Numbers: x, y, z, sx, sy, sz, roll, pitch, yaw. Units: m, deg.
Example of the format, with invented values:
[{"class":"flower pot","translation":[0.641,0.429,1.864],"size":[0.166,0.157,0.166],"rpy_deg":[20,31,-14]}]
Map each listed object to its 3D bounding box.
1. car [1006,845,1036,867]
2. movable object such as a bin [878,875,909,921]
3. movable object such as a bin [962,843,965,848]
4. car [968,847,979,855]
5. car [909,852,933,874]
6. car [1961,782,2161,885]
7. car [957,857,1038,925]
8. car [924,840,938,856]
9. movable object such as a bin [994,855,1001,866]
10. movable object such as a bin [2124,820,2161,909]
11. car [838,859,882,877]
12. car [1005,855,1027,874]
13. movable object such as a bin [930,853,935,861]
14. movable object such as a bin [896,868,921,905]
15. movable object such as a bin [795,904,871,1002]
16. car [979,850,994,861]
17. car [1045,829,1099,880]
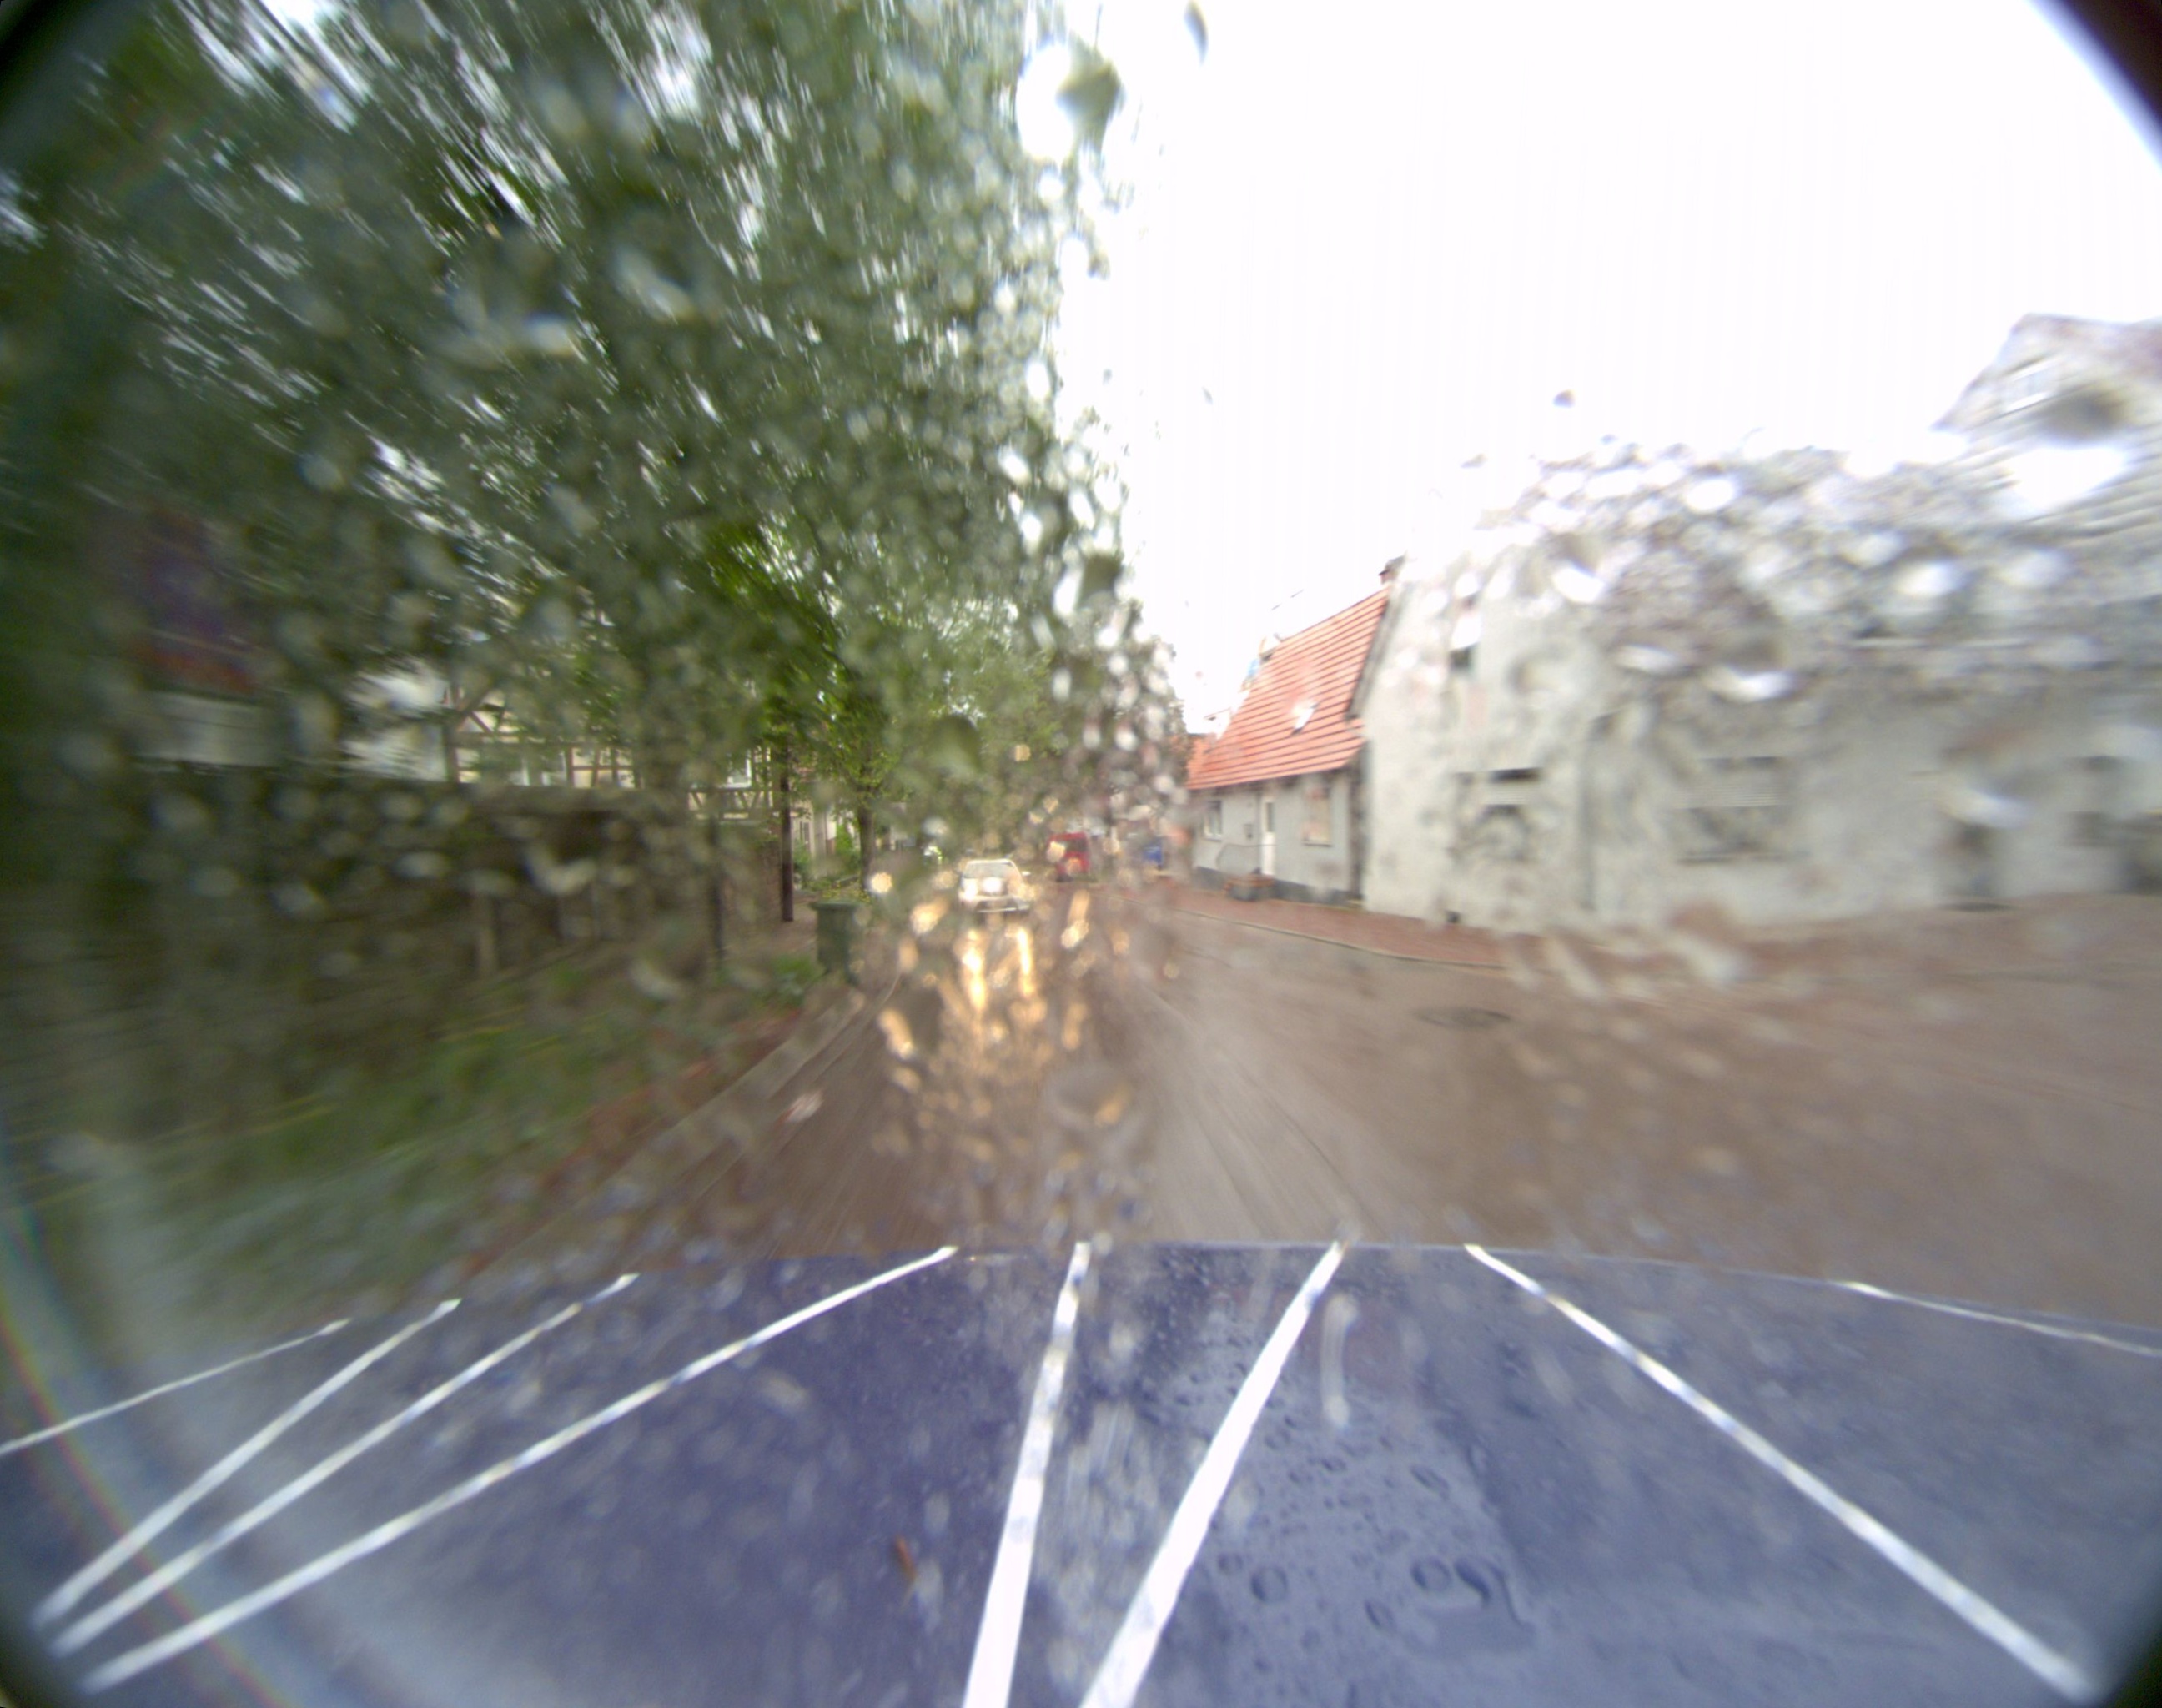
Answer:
[{"class":"car","translation":[-4.785,0.153,60.074],"size":[1.777,1.544,3.996],"rpy_deg":[-4,1,-12]},{"class":"movable object such as a bin","translation":[-4.971,1.149,20.210],"size":[0.726,1.136,0.702],"rpy_deg":[-3,1,-13]},{"class":"movable object such as a bin","translation":[-28.998,-2.069,187.781],"size":[0.619,1.053,0.568],"rpy_deg":[-5,2,-12]},{"class":"car","translation":[-20.361,-0.663,143.710],"size":[1.755,1.388,3.792],"rpy_deg":[-3,1,-10]},{"class":"car","translation":[-14.357,0.790,68.401],"size":[1.920,1.782,4.484],"rpy_deg":[-3,1,-10]},{"class":"car","translation":[16.329,-0.347,11.611],"size":[1.567,1.444,3.451],"rpy_deg":[-5,3,-8]},{"class":"car","translation":[-2.241,0.871,19.824],"size":[1.829,1.451,3.871],"rpy_deg":[-3,1,-9]},{"class":"car","translation":[-24.483,-0.957,124.106],"size":[2.148,2.446,5.429],"rpy_deg":[-3,1,-11]},{"class":"movable object such as a bin","translation":[-8.957,0.708,81.560],"size":[0.645,1.105,0.535],"rpy_deg":[-2,1,-9]},{"class":"movable object such as a bin","translation":[13.583,0.130,9.442],"size":[0.524,1.055,0.504],"rpy_deg":[-4,5,-8]},{"class":"car","translation":[-18.116,1.136,62.509],"size":[3.377,1.422,1.628],"rpy_deg":[-1,1,-14]},{"class":"car","translation":[-6.002,0.934,70.184],"size":[1.652,1.524,3.862],"rpy_deg":[-4,1,-9]},{"class":"movable object such as a bin","translation":[-18.792,0.377,96.182],"size":[0.646,1.076,0.540],"rpy_deg":[-3,2,-14]},{"class":"movable object such as a bin","translation":[-5.911,1.106,26.037],"size":[0.723,1.206,0.726],"rpy_deg":[-3,1,-10]},{"class":"movable object such as a bin","translation":[-3.100,1.215,9.584],"size":[0.772,1.100,0.883],"rpy_deg":[-1,1,-10]},{"class":"car","translation":[-13.236,0.185,106.520],"size":[1.778,1.381,4.541],"rpy_deg":[-4,1,-9]},{"class":"car","translation":[-0.600,0.040,41.492],"size":[2.310,2.468,5.781],"rpy_deg":[-3,0,-6]}]
